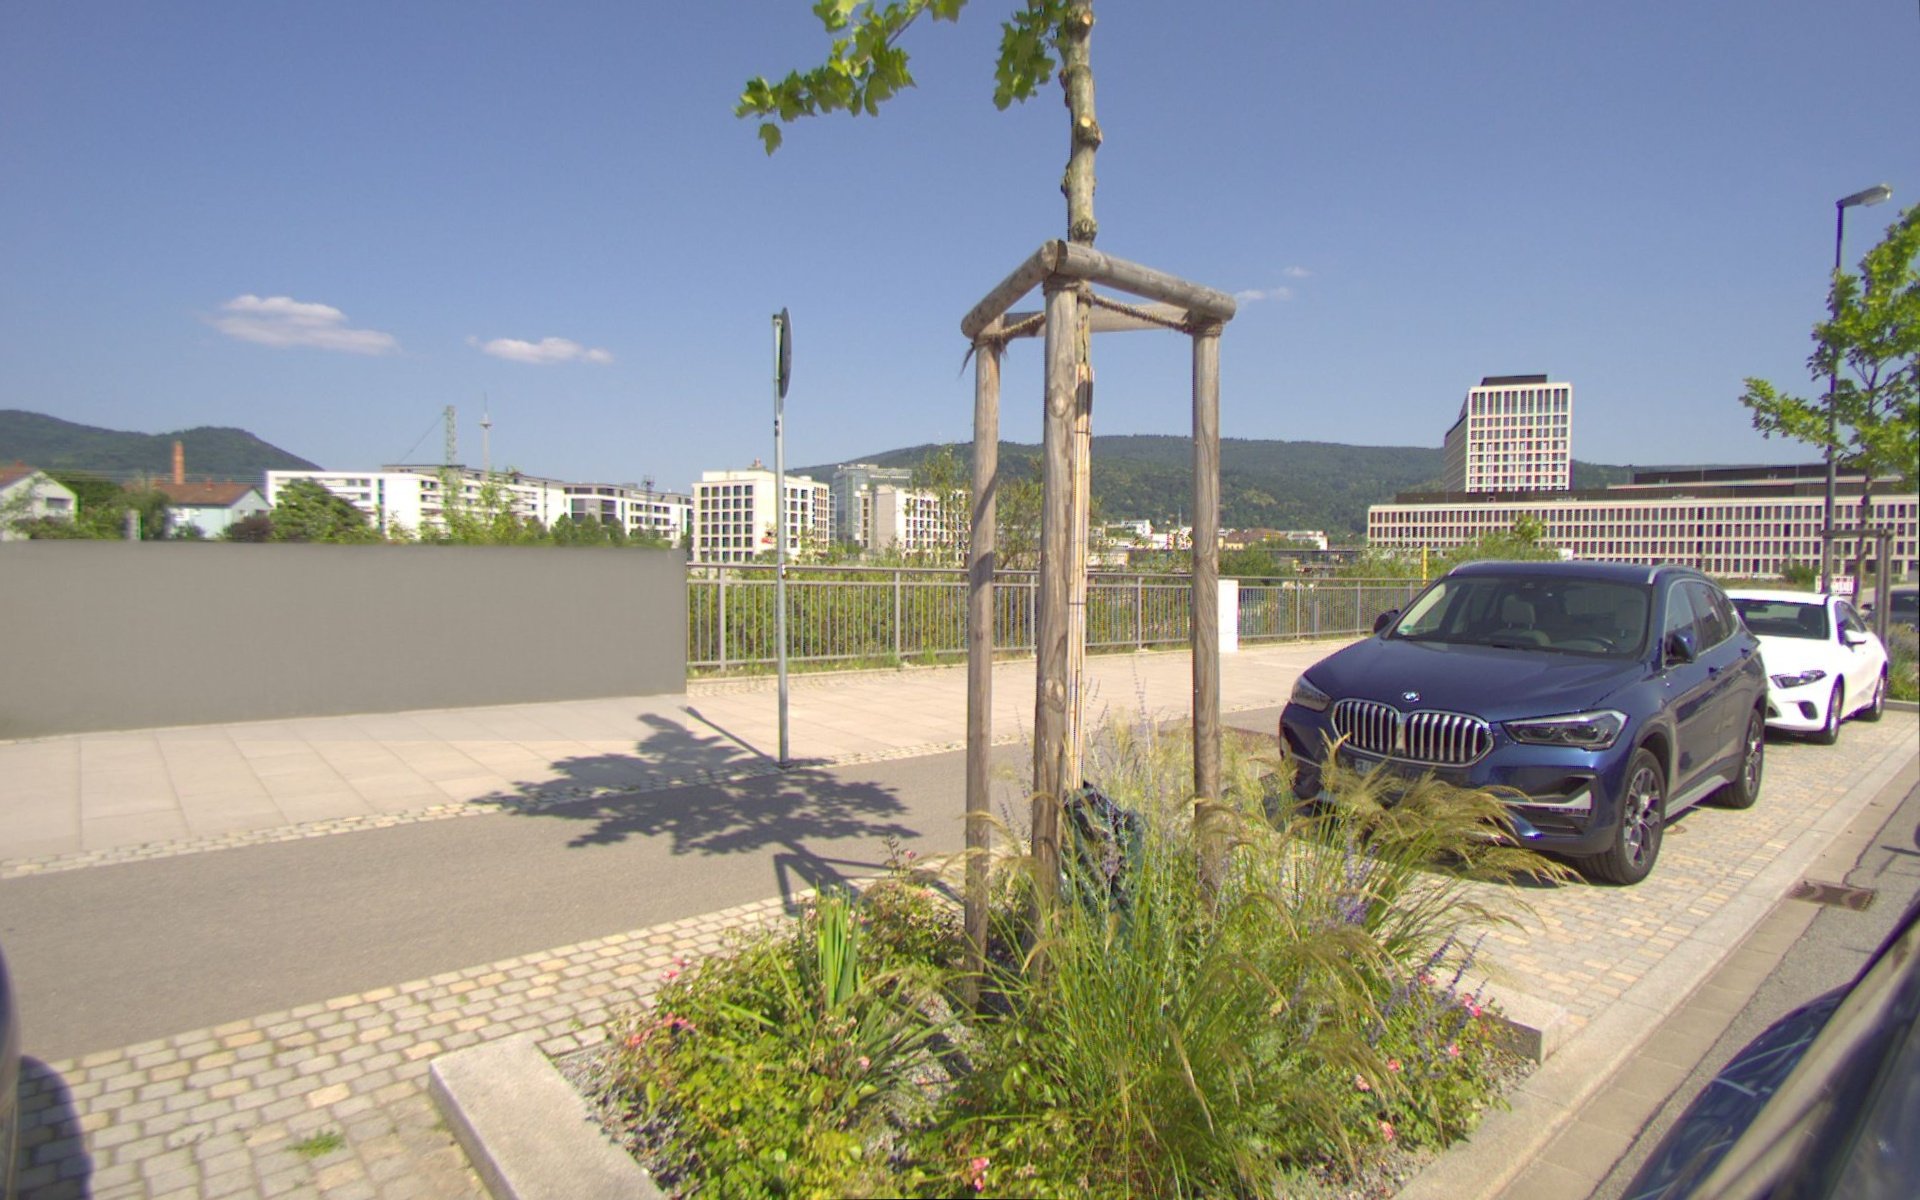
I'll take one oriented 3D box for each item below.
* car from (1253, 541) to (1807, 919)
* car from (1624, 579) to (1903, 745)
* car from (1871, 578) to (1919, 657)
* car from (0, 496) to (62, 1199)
[{"bbox_3d":[3.800,0.536,6.409,4.164,1.627,1.768,-1,0,-41],"label":"car"},{"bbox_3d":[8.739,0.523,10.892,3.930,1.473,1.663,-1,0,-41],"label":"car"},{"bbox_3d":[20.444,0.323,21.113,3.930,1.558,1.663,-1,0,-41],"label":"car"},{"bbox_3d":[-2.995,0.590,0.378,3.930,1.444,1.664,-1,3,-41],"label":"car"}]
